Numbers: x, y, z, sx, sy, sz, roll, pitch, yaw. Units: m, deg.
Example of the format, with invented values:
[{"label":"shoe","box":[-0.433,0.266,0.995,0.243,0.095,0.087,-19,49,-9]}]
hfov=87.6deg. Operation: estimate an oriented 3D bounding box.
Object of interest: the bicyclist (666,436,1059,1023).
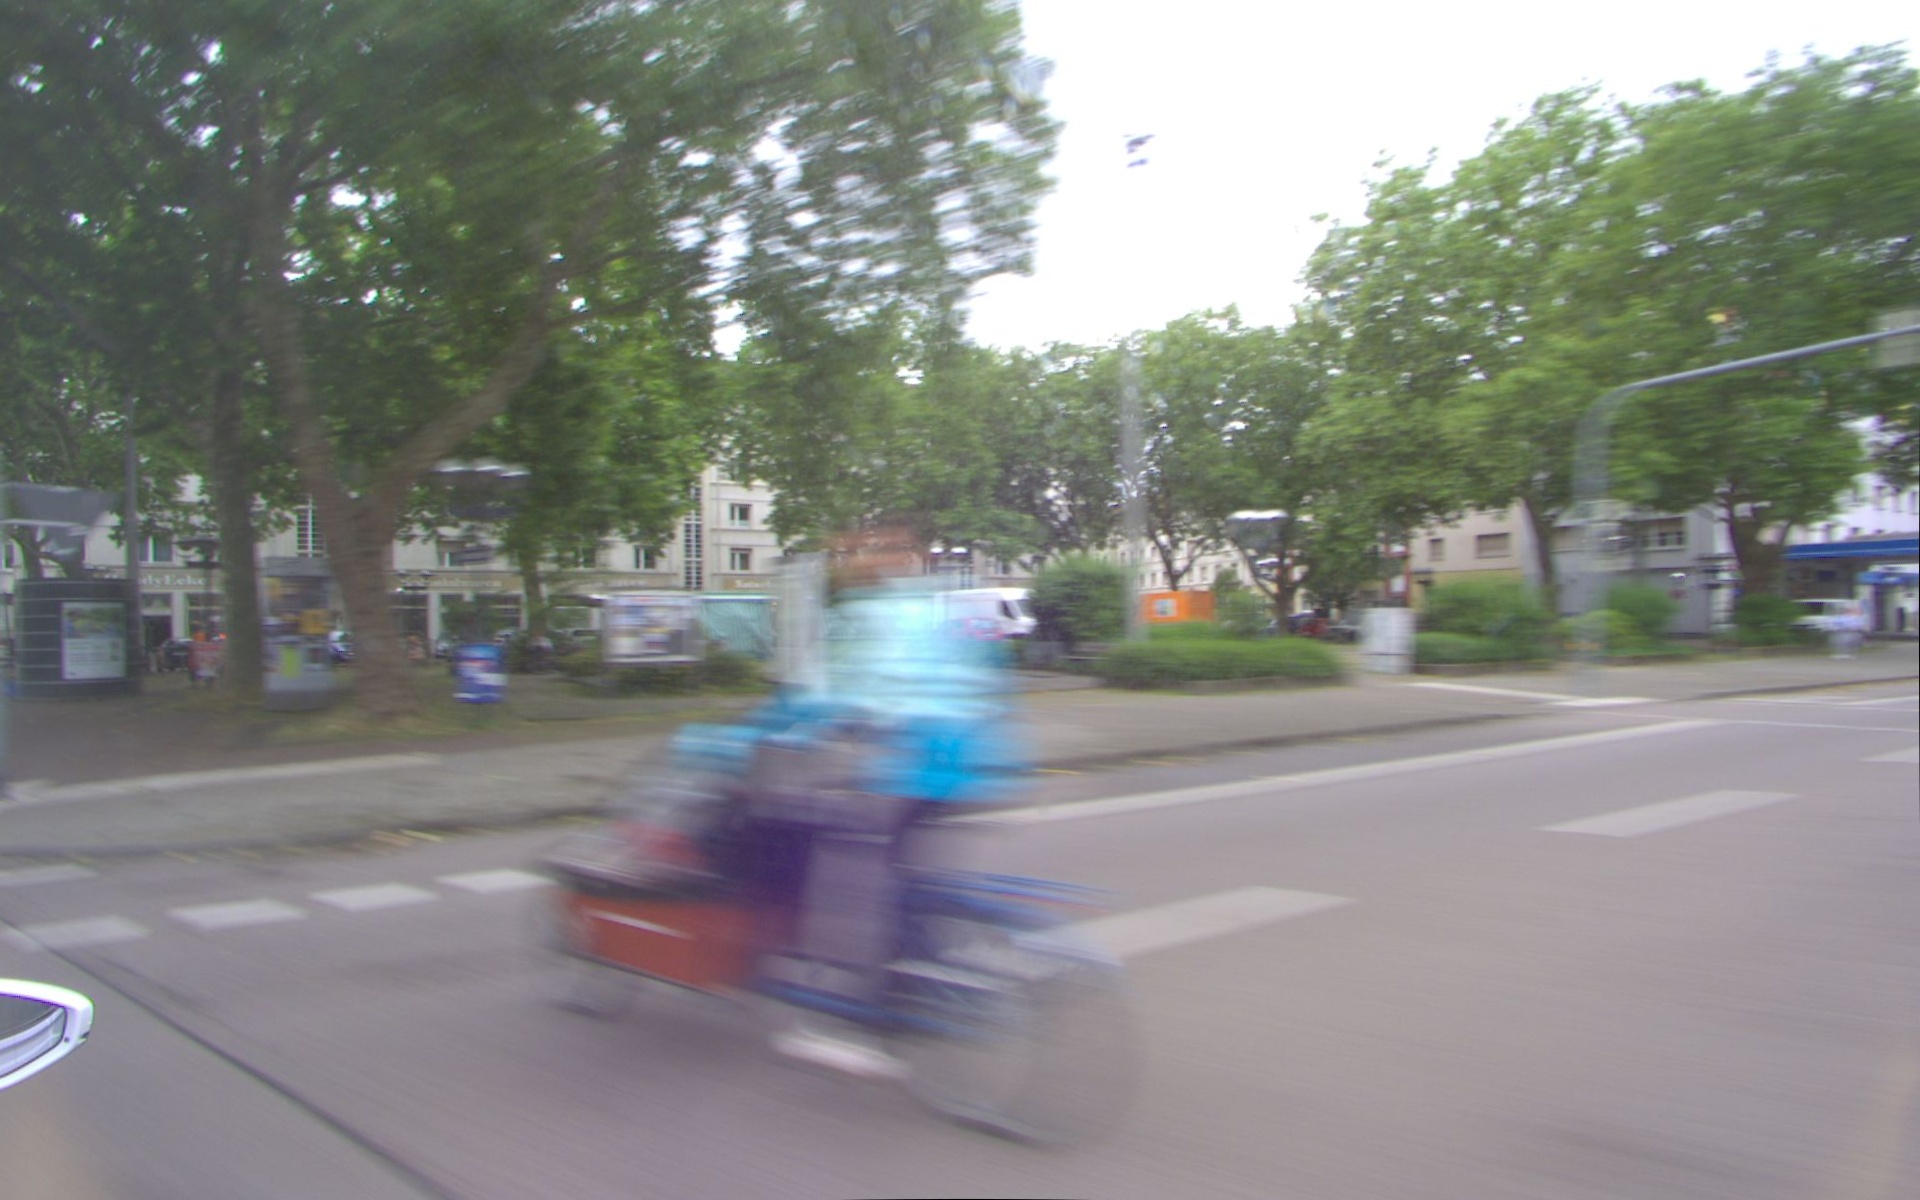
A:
[{"label":"bicyclist","box":[-0.308,0.349,3.192,1.043,1.538,0.684,0,0,32]}]

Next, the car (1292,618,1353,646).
[{"label":"car","box":[22.269,1.929,61.415,3.761,1.644,1.505,0,-1,-32]}]

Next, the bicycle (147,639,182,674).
[{"label":"bicycle","box":[-29.229,2.059,36.828,0.615,1.183,2.322,-1,-1,-29]}]

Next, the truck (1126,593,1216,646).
[{"label":"truck","box":[10.902,1.012,51.950,2.360,2.625,3.969,0,-1,-39]}]

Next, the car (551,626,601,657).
[{"label":"car","box":[-18.729,1.988,48.756,1.775,1.459,3.809,0,-1,-28]}]

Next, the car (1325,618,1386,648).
[{"label":"car","box":[23.377,1.938,59.170,3.764,1.644,1.503,0,-1,-35]}]

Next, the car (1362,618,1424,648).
[{"label":"car","box":[24.654,1.866,56.970,3.764,1.644,1.503,0,-1,-35]}]

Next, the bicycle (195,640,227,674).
[{"label":"bicycle","box":[-28.116,2.124,37.593,0.615,1.183,2.322,-1,-1,-29]}]

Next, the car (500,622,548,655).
[{"label":"car","box":[-20.628,1.796,47.342,1.775,1.459,3.809,0,-1,-28]}]

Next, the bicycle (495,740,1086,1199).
[{"label":"bicycle","box":[-0.664,1.084,3.315,2.108,1.112,0.493,-2,-1,32]}]

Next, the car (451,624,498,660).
[{"label":"car","box":[-22.516,1.907,46.369,1.775,1.536,3.809,0,-1,-28]}]

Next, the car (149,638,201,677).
[{"label":"car","box":[-31.952,2.303,40.840,1.501,1.447,3.972,0,-1,-36]}]

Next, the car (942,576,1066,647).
[{"label":"car","box":[1.703,0.495,40.868,2.214,2.674,5.410,0,-1,-35]}]

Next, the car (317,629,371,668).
[{"label":"car","box":[-26.671,2.047,43.454,1.775,1.563,3.809,0,-1,-28]}]

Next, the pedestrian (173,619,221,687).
[{"label":"pedestrian","box":[-20.281,1.381,26.616,0.913,1.766,0.782,-1,0,35]}]

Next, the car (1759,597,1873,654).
[{"label":"car","box":[33.982,0.968,39.720,5.017,2.123,1.982,0,-1,-32]}]

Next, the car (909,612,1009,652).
[{"label":"car","box":[-0.090,1.196,38.040,1.714,1.417,4.268,0,-1,-34]}]

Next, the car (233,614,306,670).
[{"label":"car","box":[-28.867,1.724,41.994,2.150,2.229,3.980,0,-1,-30]}]

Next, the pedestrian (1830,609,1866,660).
[{"label":"pedestrian","box":[27.909,1.082,31.472,0.564,1.591,0.706,0,0,-30]}]

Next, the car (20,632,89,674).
[{"label":"car","box":[-33.946,1.955,37.624,1.501,1.447,3.972,0,-1,-36]}]

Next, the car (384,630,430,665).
[{"label":"car","box":[-25.337,2.150,45.972,1.775,1.459,3.809,0,-1,-28]}]
